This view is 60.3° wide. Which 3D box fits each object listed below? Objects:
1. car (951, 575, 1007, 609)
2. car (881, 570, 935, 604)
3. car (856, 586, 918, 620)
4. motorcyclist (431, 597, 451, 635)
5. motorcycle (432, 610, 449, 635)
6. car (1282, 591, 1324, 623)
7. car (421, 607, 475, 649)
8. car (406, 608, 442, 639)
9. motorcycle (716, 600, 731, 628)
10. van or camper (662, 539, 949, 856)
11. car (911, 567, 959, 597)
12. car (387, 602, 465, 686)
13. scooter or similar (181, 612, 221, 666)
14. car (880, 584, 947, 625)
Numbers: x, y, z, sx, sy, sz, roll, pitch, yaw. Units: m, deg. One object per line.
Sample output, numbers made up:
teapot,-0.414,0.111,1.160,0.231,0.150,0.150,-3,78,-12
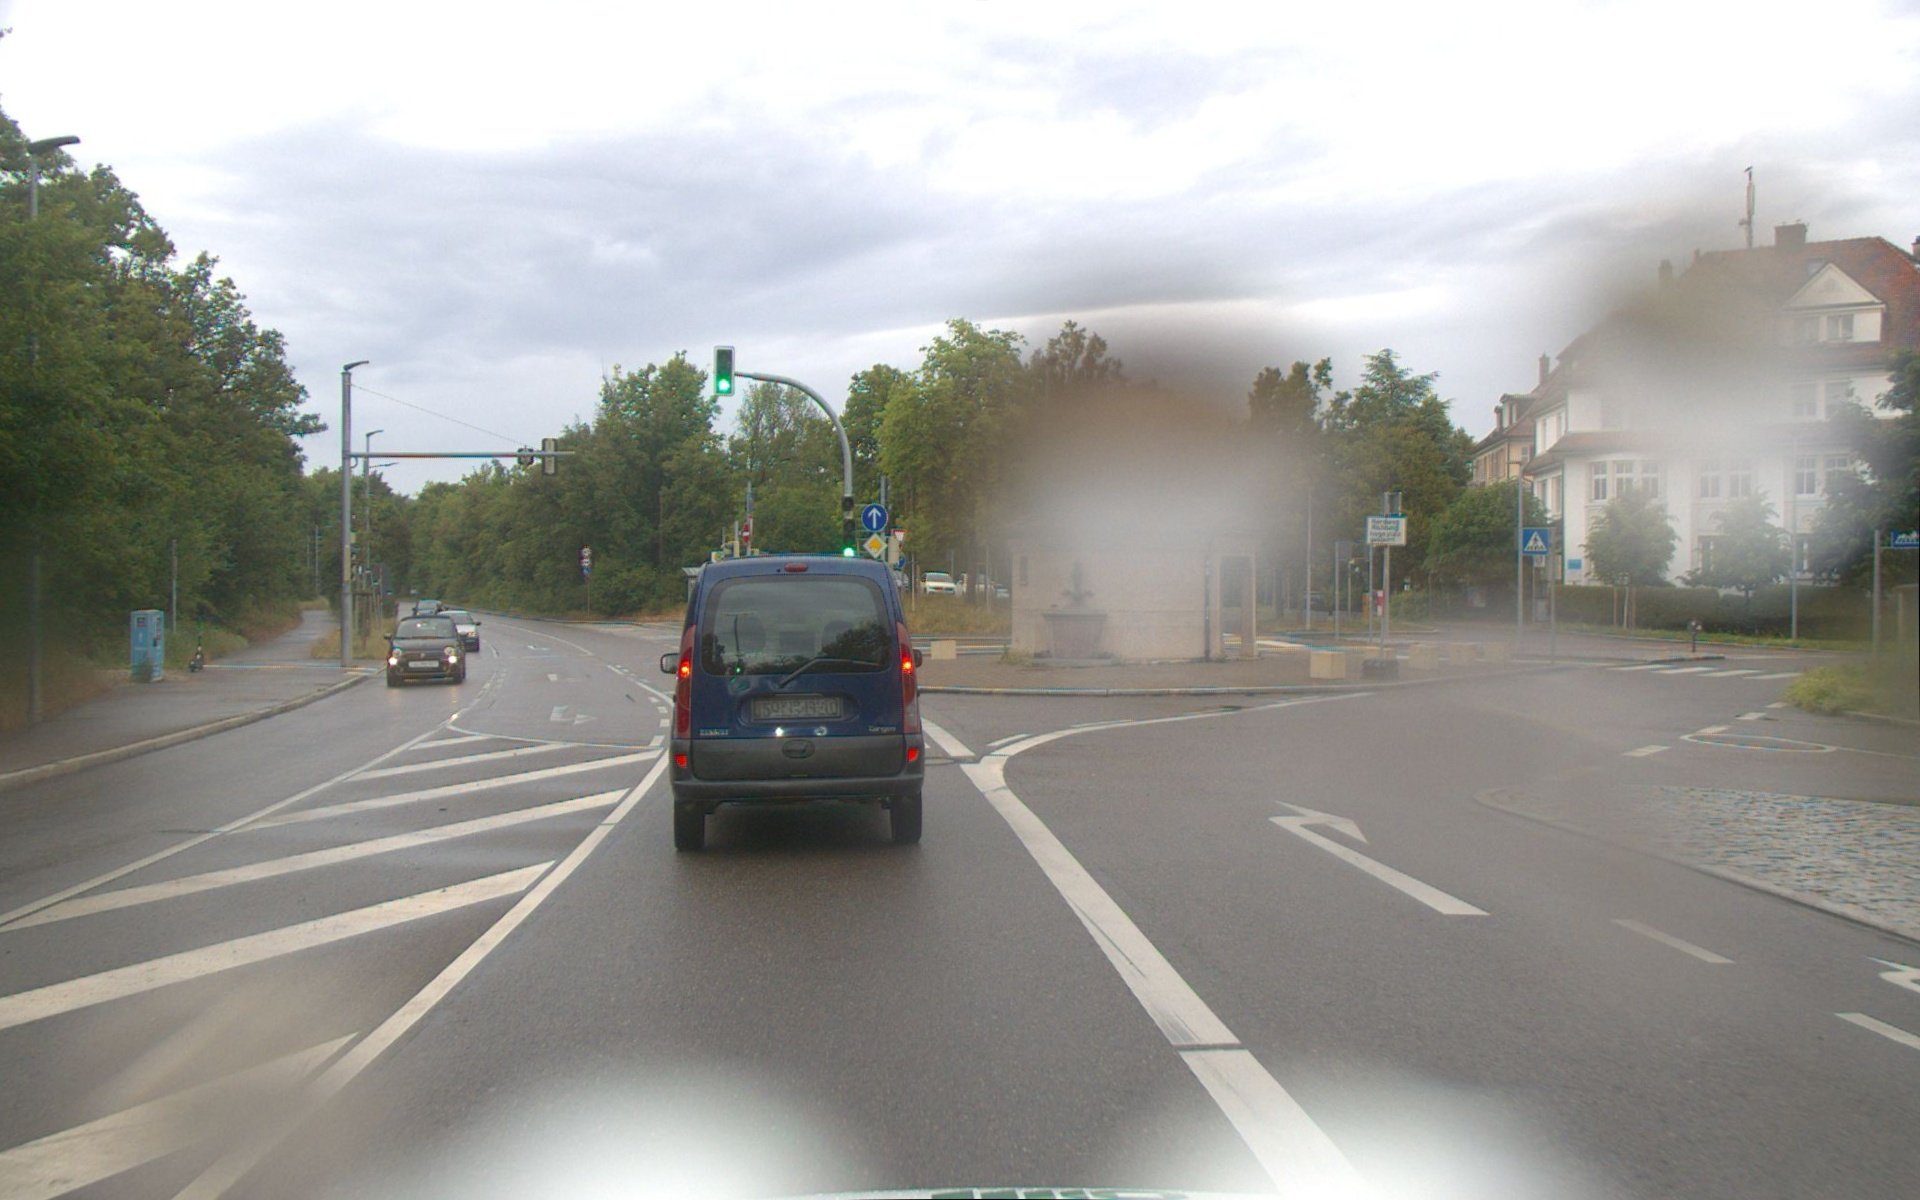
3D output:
car,0.900,-0.374,80.923,1.852,1.506,4.055,2,-1,-12
car,-2.789,-0.697,87.525,1.959,1.691,4.457,2,0,-13
car,-3.530,0.167,79.219,1.962,1.506,4.264,2,-1,-17
motorcyclist,-23.117,0.715,73.673,0.733,1.661,0.924,-1,0,-14
motorcycle,-23.163,1.012,73.767,0.584,1.069,1.991,-1,0,-14
car,22.533,0.486,108.766,1.953,2.049,3.999,0,0,0
car,-18.266,0.959,59.149,1.713,1.375,4.191,-2,0,-16
car,-29.813,1.283,92.052,1.761,1.609,4.540,-1,0,-17
motorcycle,-11.043,0.652,77.325,0.577,1.311,1.537,-1,0,-4
van or camper,-1.085,0.581,11.761,1.679,1.858,3.995,0,0,-5
car,-1.407,-0.971,91.298,1.853,1.506,4.055,1,-1,-13
car,-12.143,0.954,37.739,1.551,1.761,3.757,-2,0,-16
scooter or similar,-17.812,0.895,38.824,0.508,1.233,1.465,0,0,-10
car,-2.098,0.199,73.260,1.962,1.691,3.981,2,0,-17
